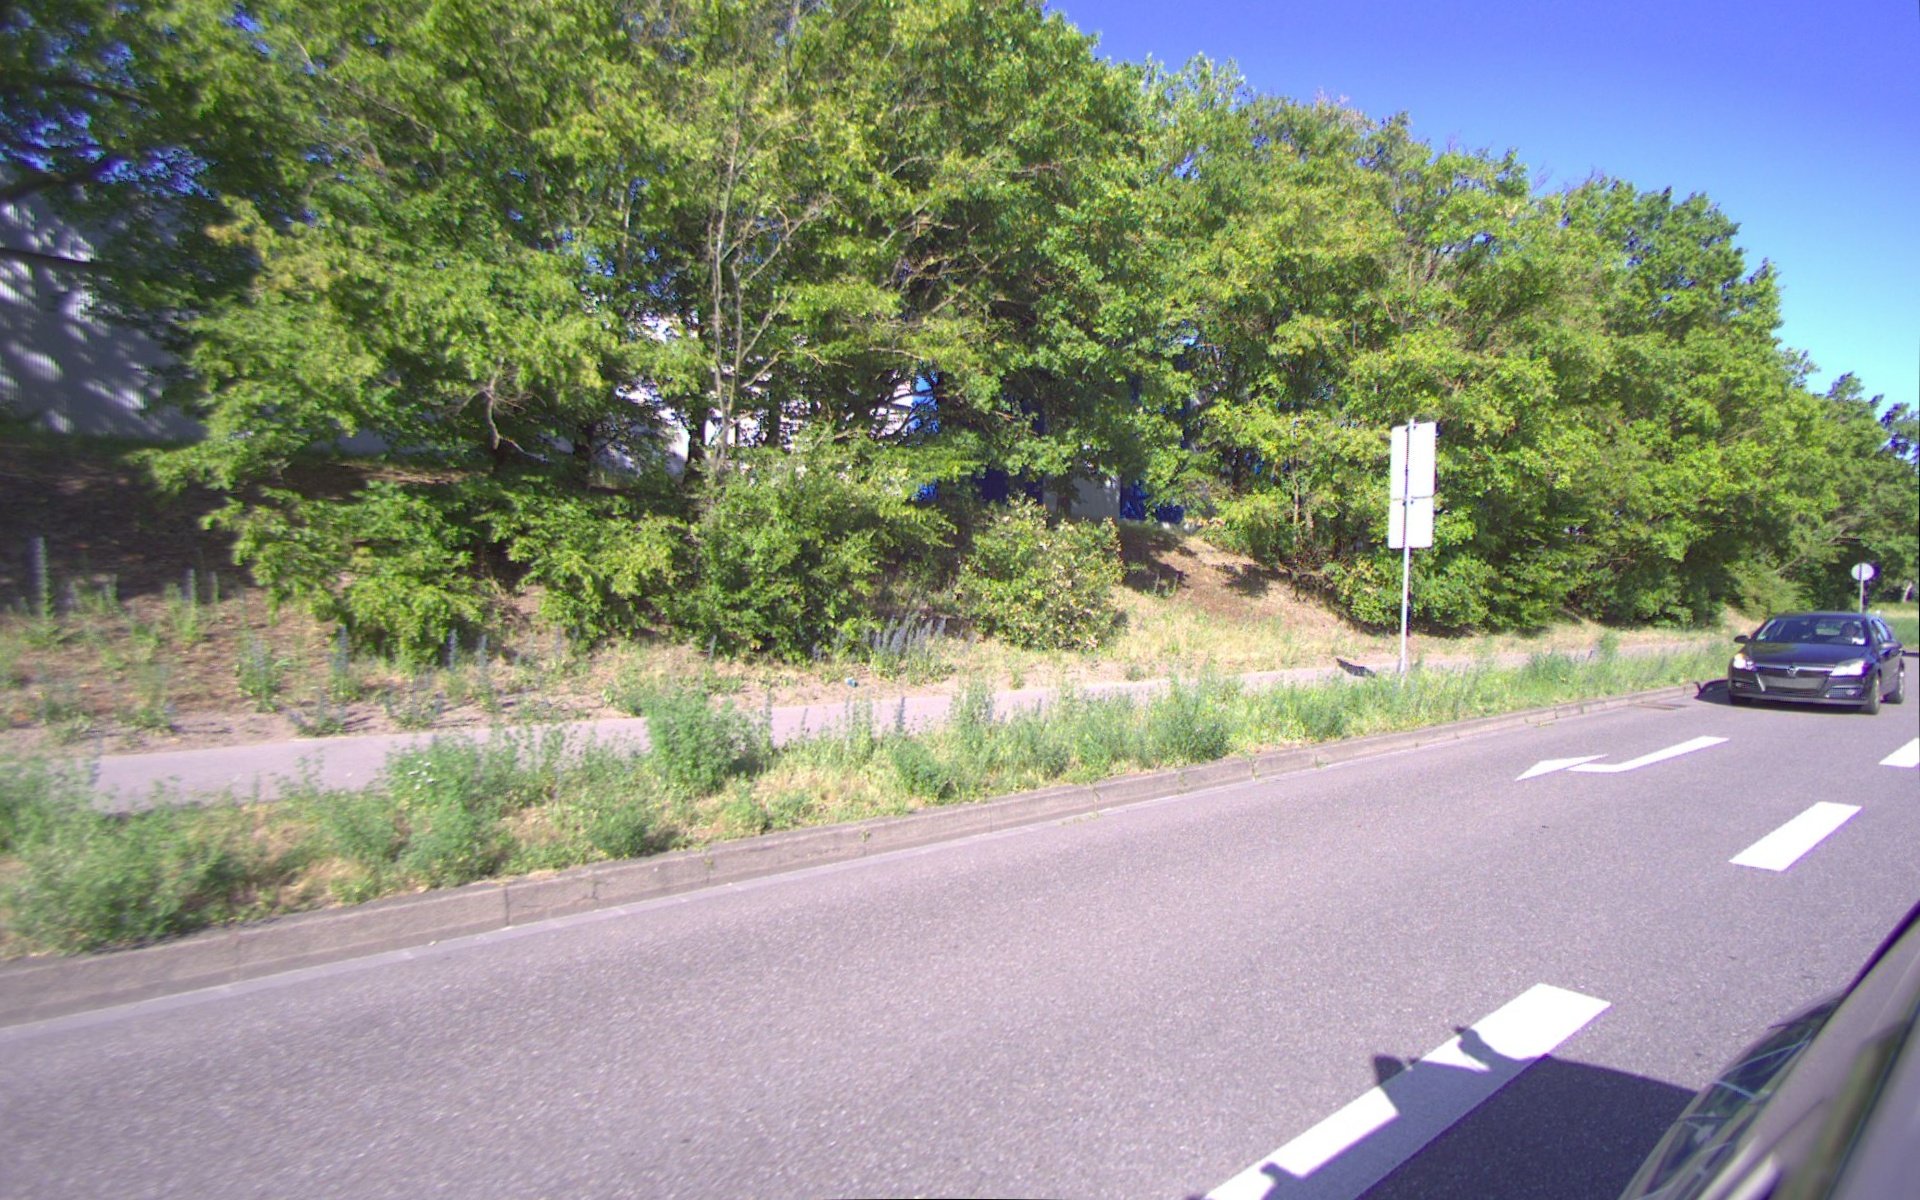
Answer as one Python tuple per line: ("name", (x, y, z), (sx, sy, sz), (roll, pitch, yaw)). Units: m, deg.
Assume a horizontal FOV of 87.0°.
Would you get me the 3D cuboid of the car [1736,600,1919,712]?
("car", (13.560, 0.761, 15.667), (3.890, 1.473, 1.705), (0, 1, -41))
